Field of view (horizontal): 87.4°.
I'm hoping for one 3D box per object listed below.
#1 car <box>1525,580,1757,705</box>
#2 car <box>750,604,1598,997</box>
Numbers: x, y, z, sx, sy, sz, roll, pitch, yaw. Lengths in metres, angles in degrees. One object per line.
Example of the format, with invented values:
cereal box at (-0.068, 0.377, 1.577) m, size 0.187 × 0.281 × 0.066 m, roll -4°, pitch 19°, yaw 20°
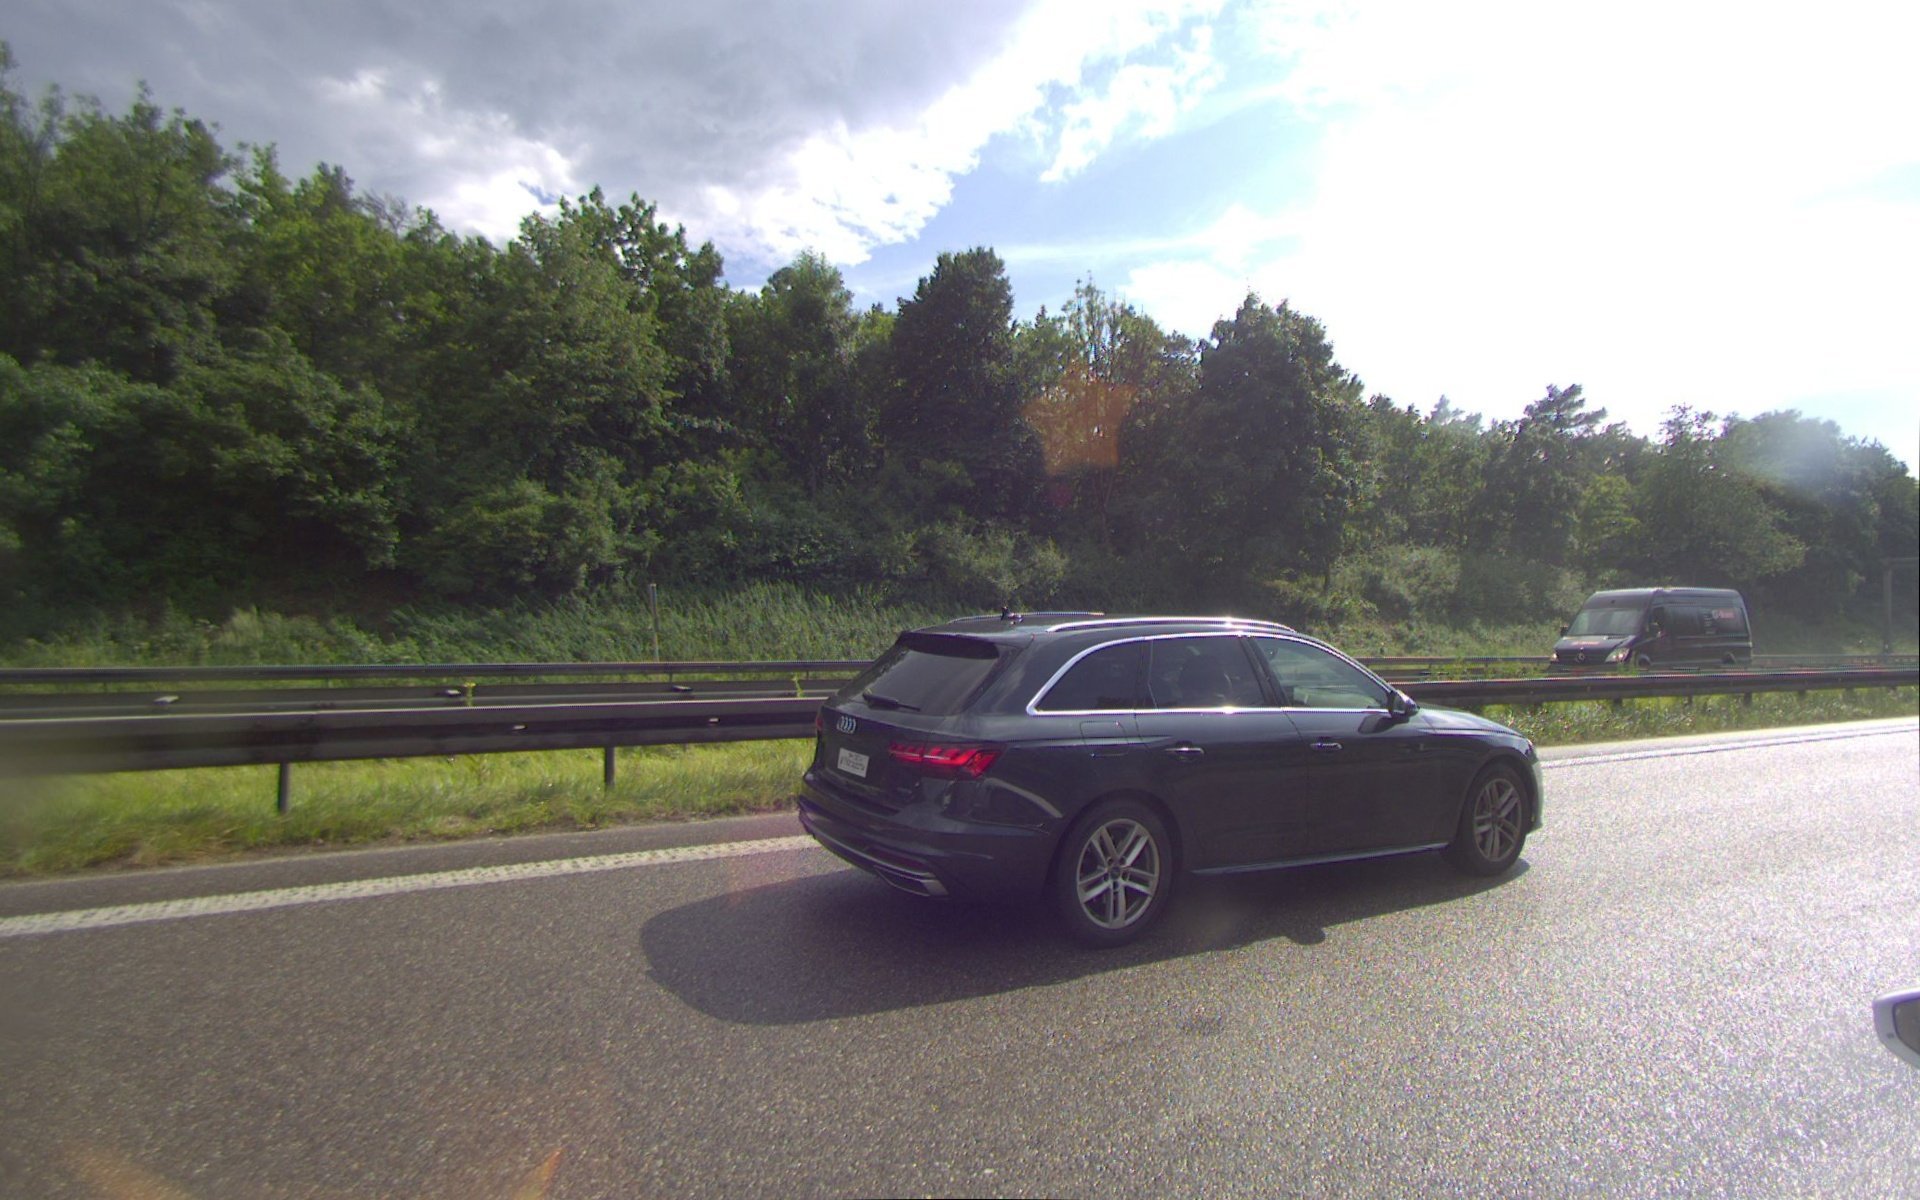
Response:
car at (17.725, 1.055, 26.007) m, size 6.810 × 2.908 × 2.251 m, roll 2°, pitch 0°, yaw -31°
car at (1.410, 0.808, 5.730) m, size 4.783 × 1.437 × 1.785 m, roll 2°, pitch 0°, yaw -31°
